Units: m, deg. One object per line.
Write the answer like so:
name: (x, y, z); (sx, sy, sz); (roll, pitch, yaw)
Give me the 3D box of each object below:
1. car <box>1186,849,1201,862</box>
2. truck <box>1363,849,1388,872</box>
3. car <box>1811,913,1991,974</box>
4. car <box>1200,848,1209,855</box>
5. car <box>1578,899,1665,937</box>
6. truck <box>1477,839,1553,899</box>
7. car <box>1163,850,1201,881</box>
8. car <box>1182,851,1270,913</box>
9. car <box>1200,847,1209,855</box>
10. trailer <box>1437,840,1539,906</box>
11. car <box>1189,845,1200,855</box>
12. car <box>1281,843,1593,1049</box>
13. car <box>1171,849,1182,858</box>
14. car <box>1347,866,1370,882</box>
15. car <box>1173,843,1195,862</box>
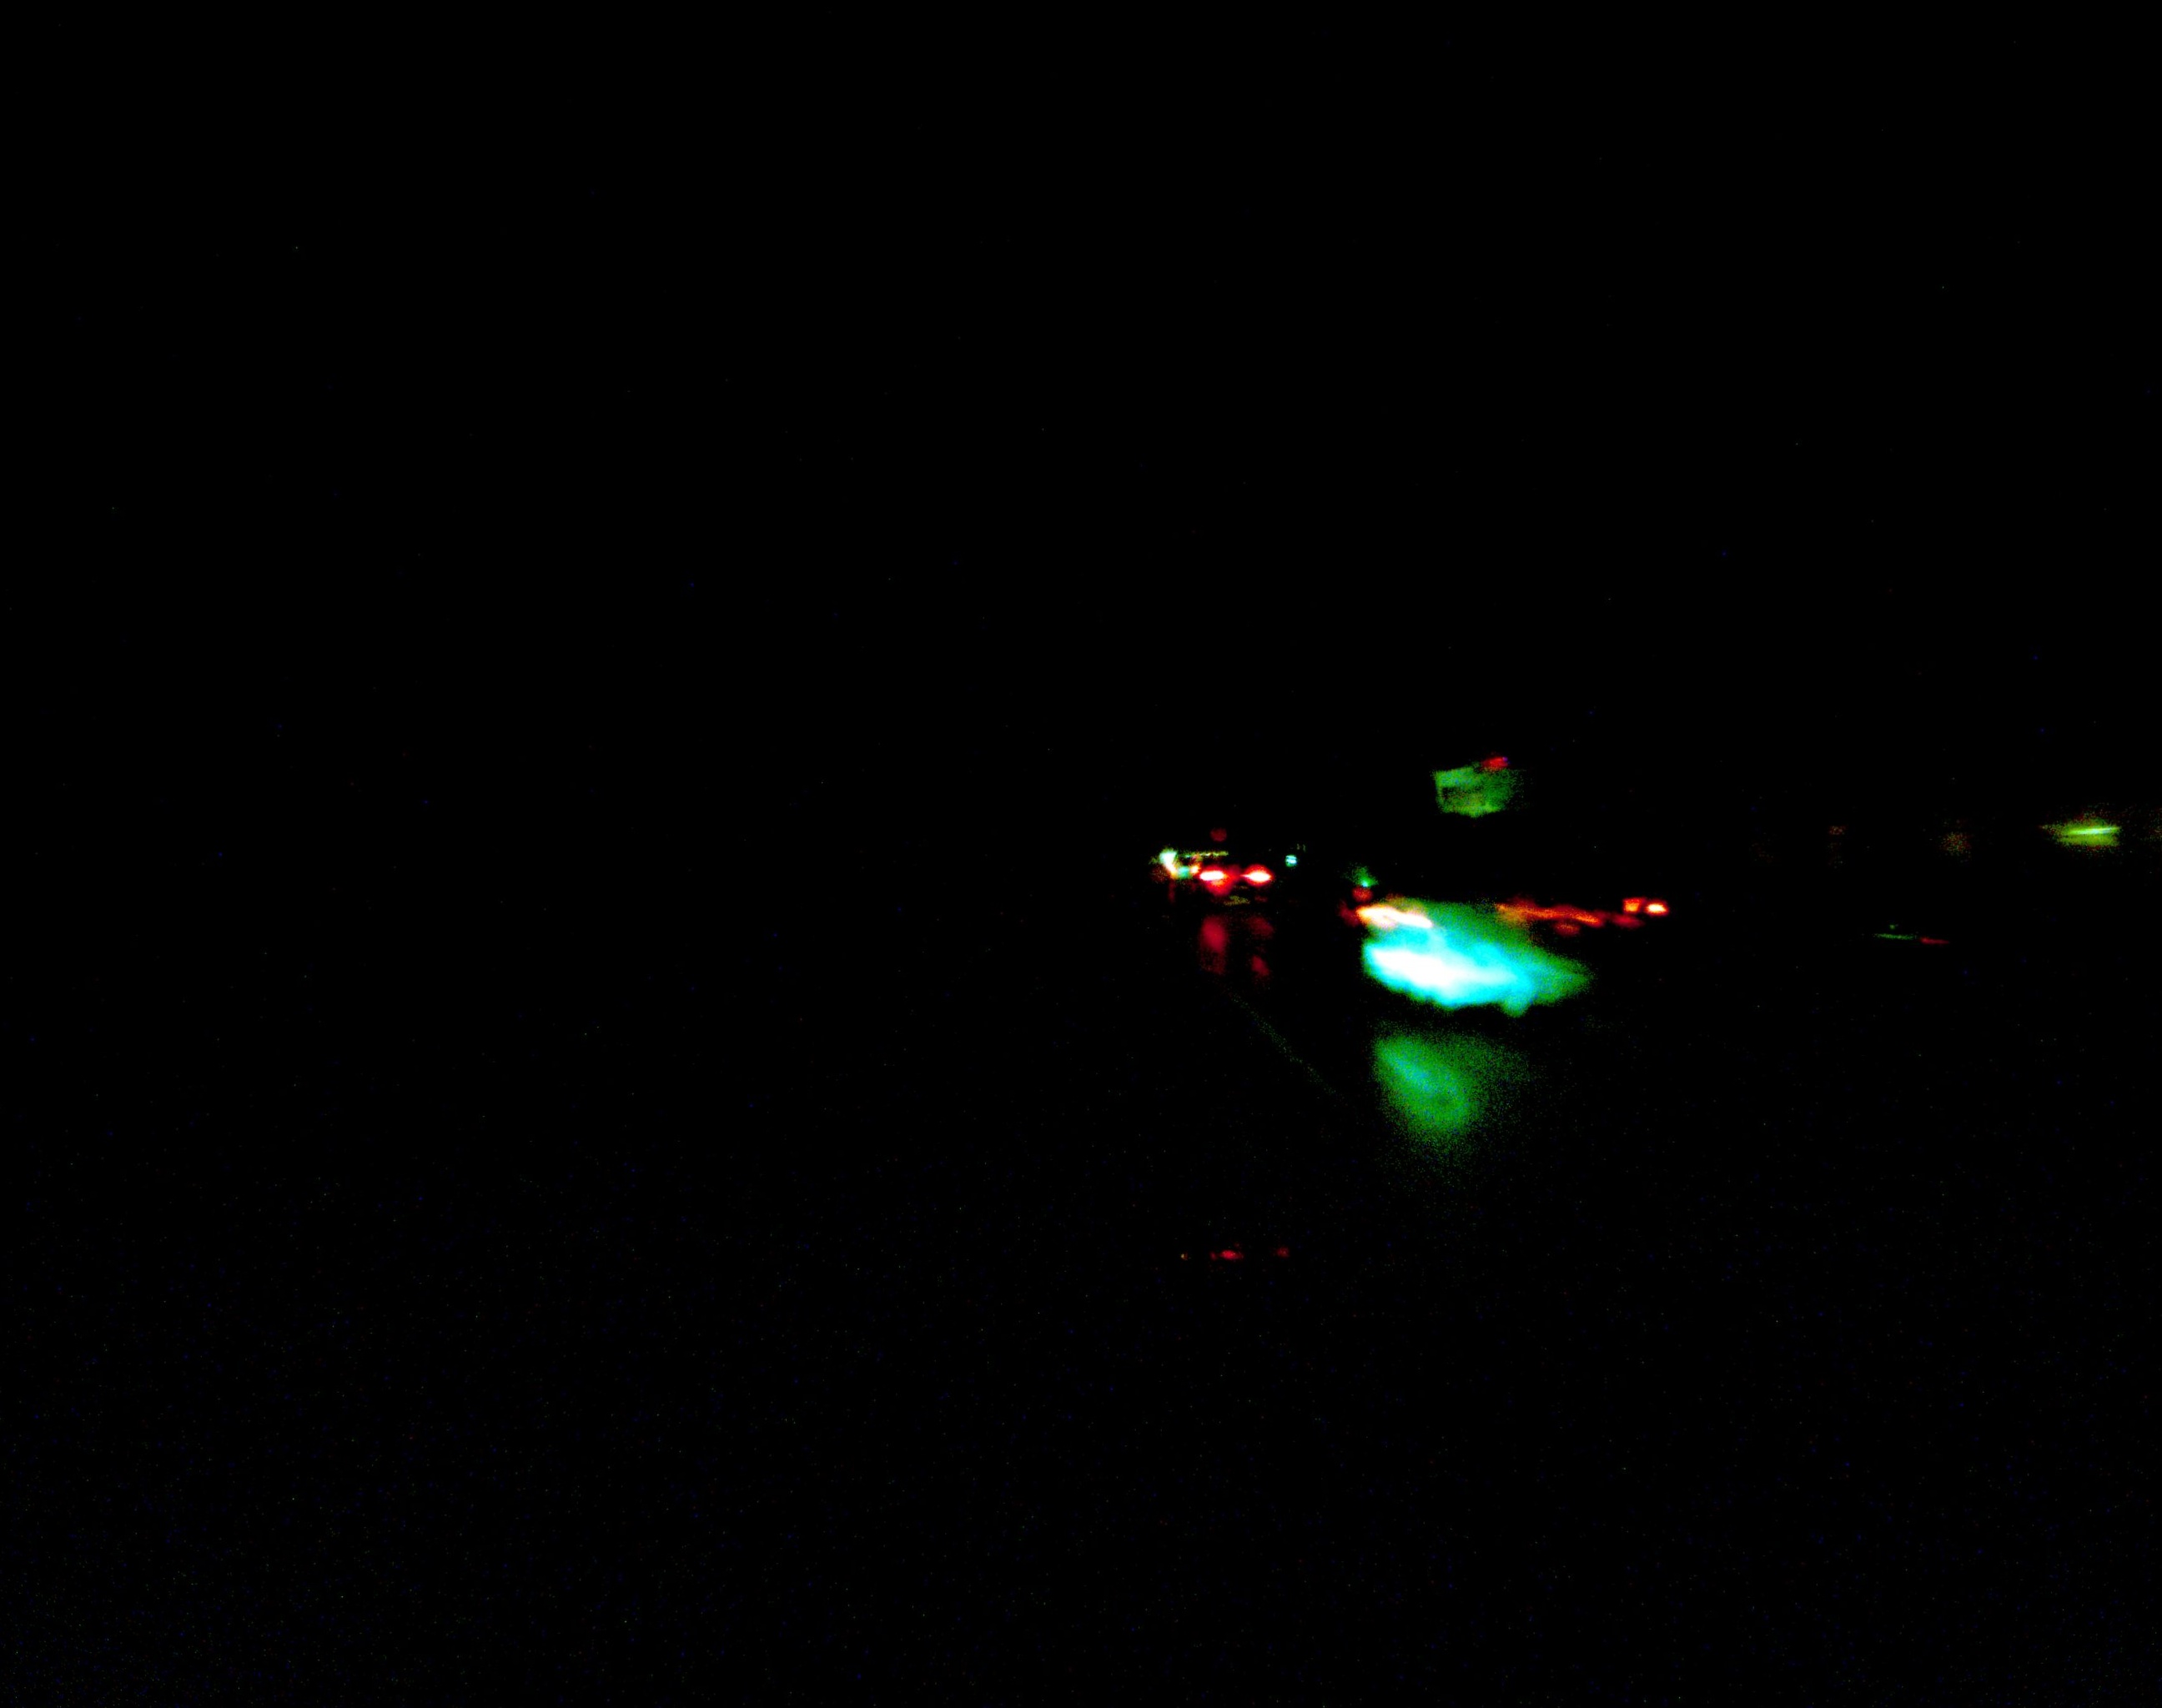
car: (15.142, 0.154, 102.708); (1.812, 1.666, 4.294); (-2, 1, 6)
truck: (46.134, 0.943, 119.376); (2.760, 3.463, 8.114); (-1, 0, 15)
car: (28.820, 3.077, 26.941); (1.812, 1.561, 4.292); (-2, 1, 1)
car: (31.842, -0.638, 196.190); (1.781, 1.565, 4.004); (-1, 1, 16)
car: (29.961, 3.522, 42.271); (1.812, 1.666, 4.292); (-2, 1, 1)
truck: (37.772, 1.206, 66.056); (7.332, 4.768, 3.329); (-2, 1, -40)
car: (5.777, 0.606, 43.815); (1.792, 1.613, 4.376); (-1, 1, 3)
car: (4.072, 0.717, 21.961); (1.821, 1.550, 4.178); (-2, 1, 2)
car: (25.733, -0.664, 157.984); (1.638, 1.511, 3.774); (0, 1, 14)
trailer: (33.641, 1.368, 62.547); (11.577, 4.768, 3.329); (-2, 1, -40)
car: (18.730, -0.661, 125.297); (1.789, 1.470, 3.682); (-2, 1, 9)
car: (3.407, 0.746, 8.020); (1.692, 1.671, 3.467); (-1, 1, 1)
car: (16.457, -0.116, 130.643); (1.823, 1.565, 4.109); (-2, 1, 9)
car: (33.751, 2.432, 92.628); (1.811, 1.666, 4.295); (-2, 1, 9)
car: (10.280, -0.154, 76.183); (1.998, 1.795, 4.597); (-2, 1, 5)
